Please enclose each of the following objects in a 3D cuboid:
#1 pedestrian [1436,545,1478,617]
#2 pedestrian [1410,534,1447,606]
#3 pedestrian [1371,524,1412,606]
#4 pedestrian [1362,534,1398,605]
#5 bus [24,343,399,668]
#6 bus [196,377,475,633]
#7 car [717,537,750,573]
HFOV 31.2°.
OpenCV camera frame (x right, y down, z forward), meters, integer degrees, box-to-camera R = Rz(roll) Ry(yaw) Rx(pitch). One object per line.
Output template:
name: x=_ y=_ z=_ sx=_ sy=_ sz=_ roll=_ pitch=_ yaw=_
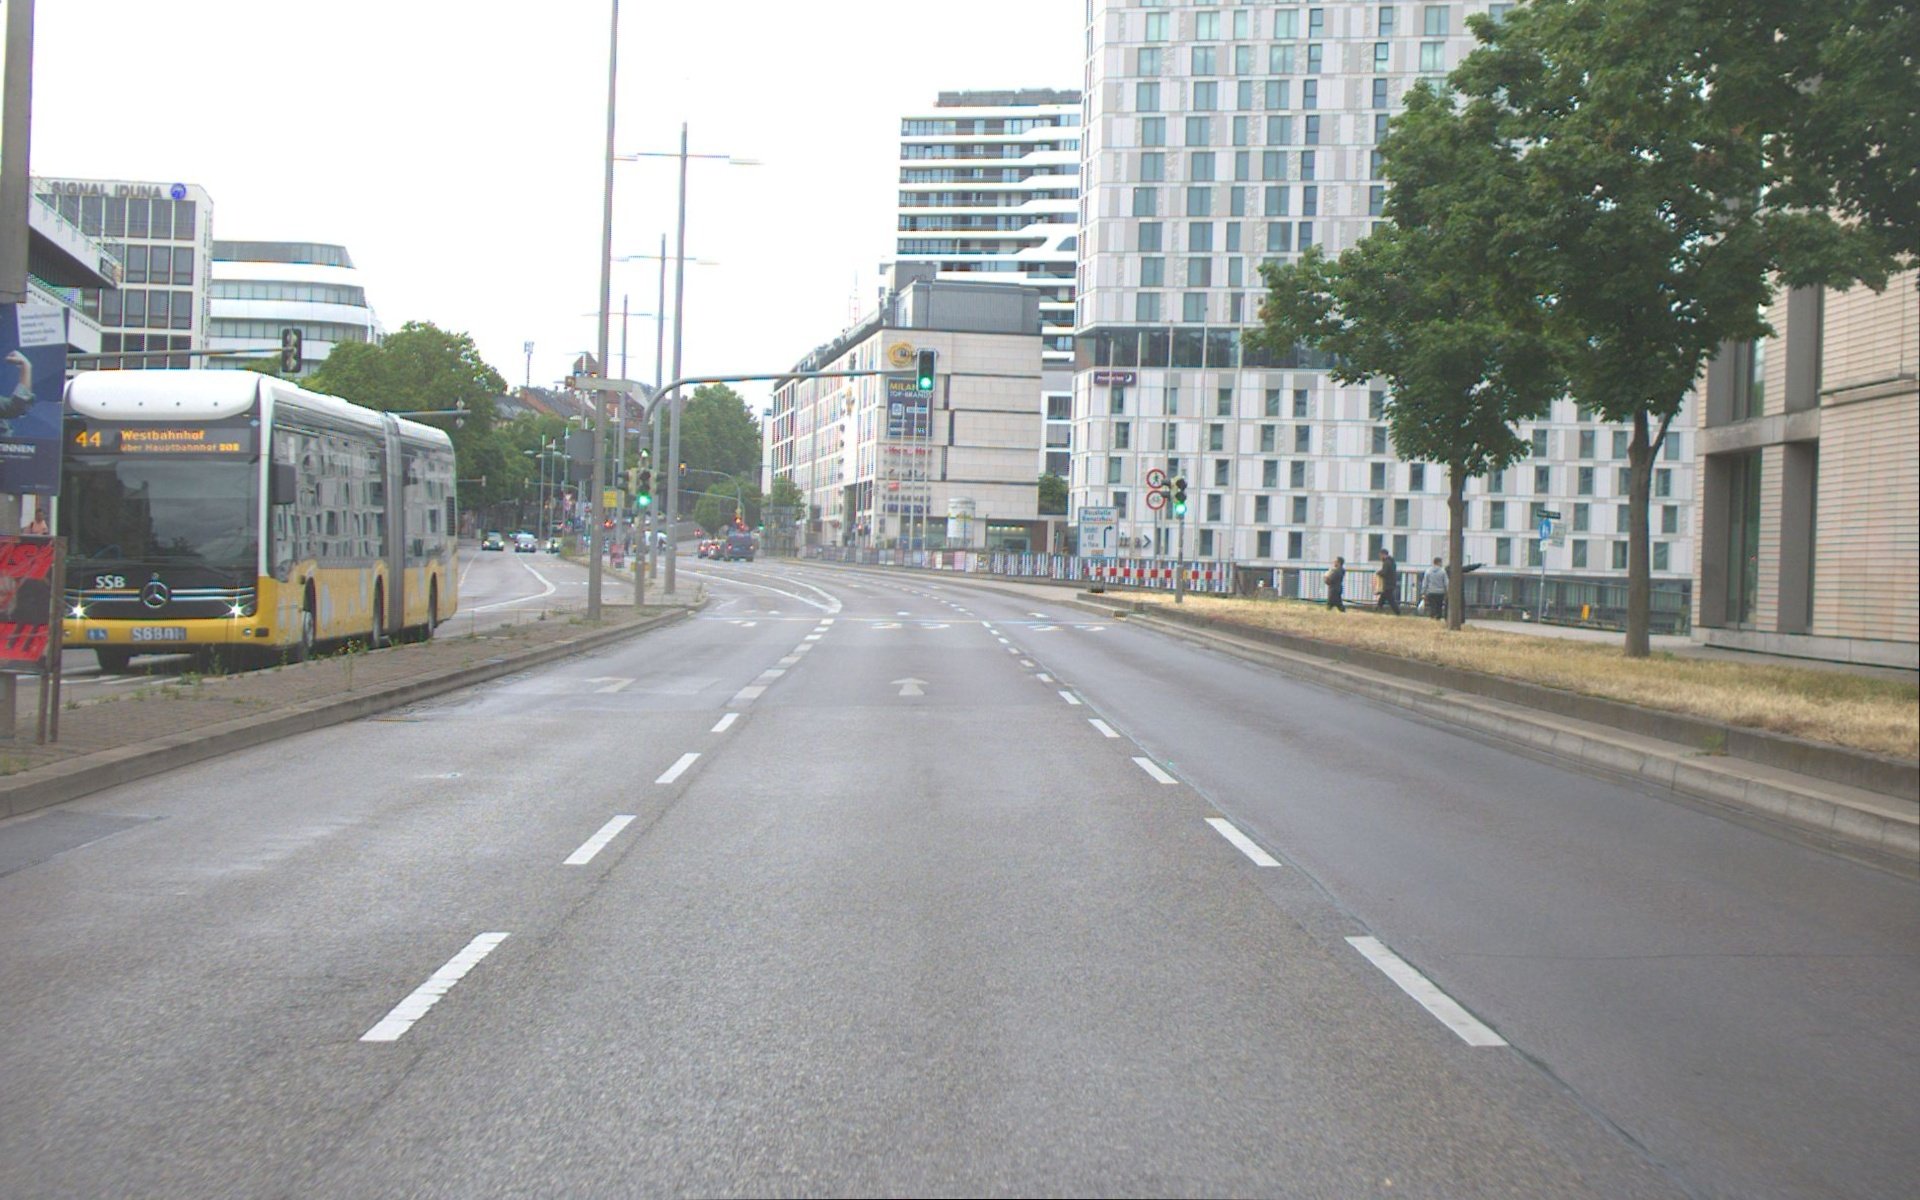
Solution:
pedestrian: x=11.089 y=-0.423 z=76.658 sx=0.670 sy=1.572 sz=0.667 roll=2 pitch=3 yaw=37
pedestrian: x=10.355 y=-0.665 z=76.016 sx=0.550 sy=1.572 sz=0.669 roll=2 pitch=3 yaw=33
pedestrian: x=9.814 y=-0.807 z=78.219 sx=0.781 sy=1.835 sz=0.551 roll=-2 pitch=3 yaw=-44
pedestrian: x=9.521 y=-0.691 z=77.899 sx=0.550 sy=1.572 sz=0.669 roll=2 pitch=3 yaw=33
bus: x=-9.007 y=-1.088 z=42.643 sx=2.698 sy=3.547 sz=10.094 roll=0 pitch=1 yaw=-1
bus: x=-9.402 y=-1.465 z=52.870 sx=2.698 sy=3.547 sz=10.095 roll=0 pitch=2 yaw=-2
car: x=-16.443 y=-3.260 z=249.293 sx=1.993 sy=2.335 sz=4.001 roll=-7 pitch=1 yaw=-2
